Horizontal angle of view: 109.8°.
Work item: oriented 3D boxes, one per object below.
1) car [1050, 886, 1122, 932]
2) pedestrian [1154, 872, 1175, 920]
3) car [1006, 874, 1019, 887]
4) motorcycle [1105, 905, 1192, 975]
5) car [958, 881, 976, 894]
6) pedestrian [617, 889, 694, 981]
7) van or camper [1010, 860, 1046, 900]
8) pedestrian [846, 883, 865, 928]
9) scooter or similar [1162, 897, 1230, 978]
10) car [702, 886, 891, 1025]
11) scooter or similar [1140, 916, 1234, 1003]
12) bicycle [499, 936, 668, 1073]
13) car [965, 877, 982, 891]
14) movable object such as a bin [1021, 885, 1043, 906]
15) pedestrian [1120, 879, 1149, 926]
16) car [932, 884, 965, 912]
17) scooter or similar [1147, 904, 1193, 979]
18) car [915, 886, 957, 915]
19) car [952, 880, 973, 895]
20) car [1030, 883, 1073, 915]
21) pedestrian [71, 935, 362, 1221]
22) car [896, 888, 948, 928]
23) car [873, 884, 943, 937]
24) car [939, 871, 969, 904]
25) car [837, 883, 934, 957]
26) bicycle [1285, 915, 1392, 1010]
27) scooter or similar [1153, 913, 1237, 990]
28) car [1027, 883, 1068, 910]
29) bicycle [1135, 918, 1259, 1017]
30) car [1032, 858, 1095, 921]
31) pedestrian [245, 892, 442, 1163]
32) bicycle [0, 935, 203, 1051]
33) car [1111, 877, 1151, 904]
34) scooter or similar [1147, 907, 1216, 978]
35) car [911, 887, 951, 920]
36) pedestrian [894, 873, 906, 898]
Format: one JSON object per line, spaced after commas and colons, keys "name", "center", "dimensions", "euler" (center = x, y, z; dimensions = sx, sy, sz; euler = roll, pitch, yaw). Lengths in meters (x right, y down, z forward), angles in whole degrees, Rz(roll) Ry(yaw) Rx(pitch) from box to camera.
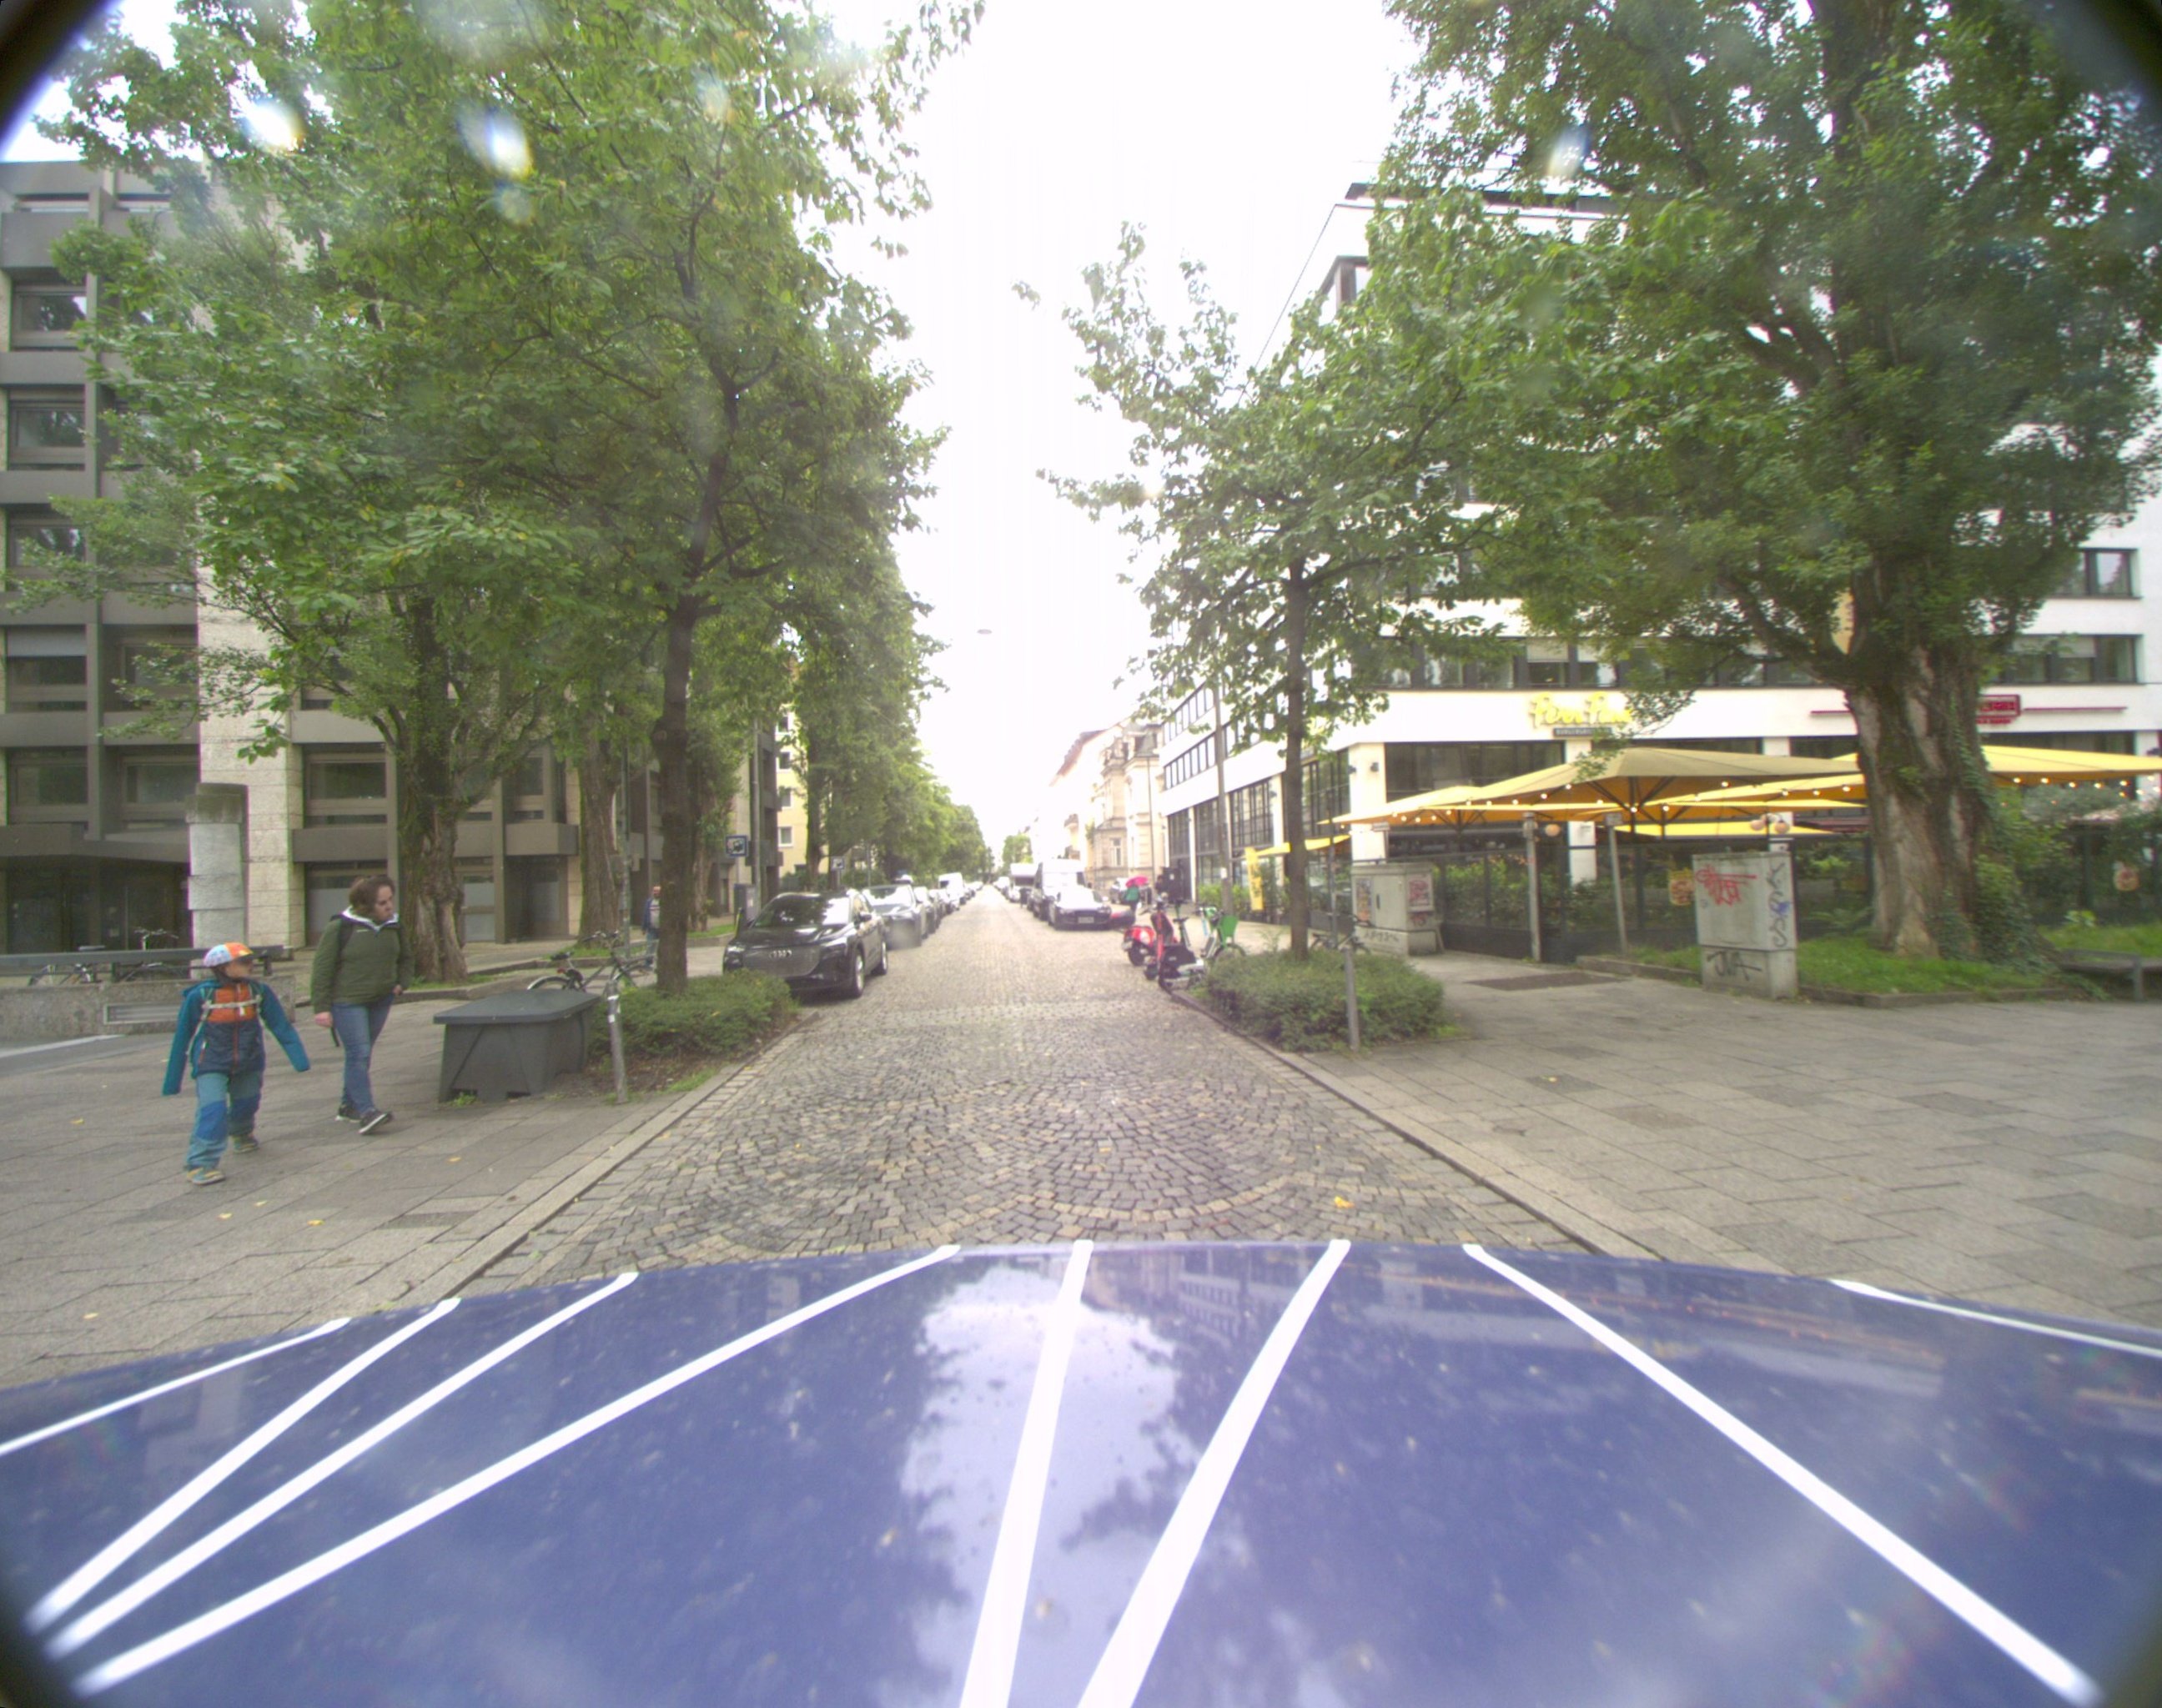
{"name": "car", "center": [0.070, 1.824, 26.018], "dimensions": [1.999, 1.322, 4.115], "euler": [-2, -1, -6]}
{"name": "pedestrian", "center": [3.101, 1.556, 28.282], "dimensions": [0.576, 1.737, 0.650], "euler": [-2, -1, -9]}
{"name": "car", "center": [-13.376, 5.053, 147.473], "dimensions": [2.089, 2.417, 5.608], "euler": [-2, -1, -8]}
{"name": "motorcycle", "center": [1.330, 1.594, 14.563], "dimensions": [0.769, 1.188, 1.996], "euler": [-1, -2, 35]}
{"name": "car", "center": [-13.152, 3.875, 87.500], "dimensions": [2.000, 1.379, 3.871], "euler": [-2, -1, -9]}
{"name": "pedestrian", "center": [-8.254, 1.552, 14.766], "dimensions": [0.867, 1.703, 0.913], "euler": [-2, -1, 13]}
{"name": "van or camper", "center": [-4.482, 2.159, 63.127], "dimensions": [2.465, 3.029, 7.314], "euler": [-2, -1, -8]}
{"name": "pedestrian", "center": [-8.447, 1.921, 28.455], "dimensions": [0.490, 1.618, 0.568], "euler": [-2, -1, -3]}
{"name": "scooter or similar", "center": [1.968, 1.395, 12.949], "dimensions": [1.253, 1.265, 0.327], "euler": [-1, -1, -37]}
{"name": "car", "center": [-4.342, 1.444, 12.332], "dimensions": [1.926, 1.690, 4.199], "euler": [-2, -1, -8]}
{"name": "scooter or similar", "center": [1.579, 1.524, 11.234], "dimensions": [1.432, 1.137, 0.369], "euler": [-1, -1, -30]}
{"name": "bicycle", "center": [-5.230, 1.531, 8.144], "dimensions": [0.475, 1.129, 1.877], "euler": [-2, -1, 3]}
{"name": "car", "center": [-13.867, 3.846, 98.115], "dimensions": [2.000, 1.679, 3.871], "euler": [-3, -1, -9]}
{"name": "movable object such as a bin", "center": [-3.181, 2.648, 49.168], "dimensions": [1.255, 1.290, 1.173], "euler": [-1, -1, -11]}
{"name": "pedestrian", "center": [2.019, 1.827, 28.643], "dimensions": [0.929, 1.695, 0.800], "euler": [-2, -1, -4]}
{"name": "car", "center": [-8.346, 2.740, 48.001], "dimensions": [1.869, 1.490, 3.871], "euler": [-3, -1, -9]}
{"name": "scooter or similar", "center": [1.639, 1.562, 13.871], "dimensions": [0.327, 1.265, 1.360], "euler": [-2, -2, 28]}
{"name": "car", "center": [-8.069, 2.574, 42.551], "dimensions": [2.000, 1.379, 3.872], "euler": [-3, -1, -7]}
{"name": "car", "center": [-12.351, 3.508, 79.140], "dimensions": [2.000, 1.379, 3.871], "euler": [-3, -1, -9]}
{"name": "car", "center": [-1.563, 2.240, 38.627], "dimensions": [1.999, 1.422, 3.999], "euler": [-1, -1, -4]}
{"name": "pedestrian", "center": [-4.970, 1.220, 4.423], "dimensions": [0.769, 1.411, 0.819], "euler": [-2, -1, 10]}
{"name": "car", "center": [-6.865, 2.301, 33.159], "dimensions": [1.724, 1.382, 4.204], "euler": [-5, -1, -7]}
{"name": "car", "center": [-6.033, 1.933, 27.012], "dimensions": [2.000, 1.573, 4.340], "euler": [-2, -1, -8]}
{"name": "car", "center": [-10.045, 2.620, 60.346], "dimensions": [2.089, 2.418, 5.608], "euler": [-3, -1, -8]}
{"name": "car", "center": [-5.347, 1.738, 21.377], "dimensions": [2.019, 1.690, 4.671], "euler": [-2, -1, -8]}
{"name": "bicycle", "center": [3.308, 1.362, 9.936], "dimensions": [0.554, 1.016, 1.762], "euler": [-2, -1, -8]}
{"name": "scooter or similar", "center": [1.804, 1.537, 12.058], "dimensions": [1.251, 1.137, 0.327], "euler": [-2, -1, -6]}
{"name": "car", "center": [-1.991, 2.428, 44.060], "dimensions": [2.000, 1.380, 3.998], "euler": [-1, -1, -7]}
{"name": "bicycle", "center": [1.607, 1.498, 10.369], "dimensions": [1.766, 1.136, 0.552], "euler": [-1, -1, -37]}
{"name": "car", "center": [-0.873, 1.491, 33.238], "dimensions": [2.066, 2.475, 5.846], "euler": [-1, -1, -8]}
{"name": "pedestrian", "center": [-5.008, 1.126, 5.192], "dimensions": [0.689, 1.690, 0.665], "euler": [-2, -1, 10]}
{"name": "bicycle", "center": [-12.474, 1.726, 9.562], "dimensions": [1.868, 1.269, 0.721], "euler": [-2, -1, -5]}
{"name": "car", "center": [3.053, 2.235, 47.137], "dimensions": [1.913, 1.523, 4.169], "euler": [-2, -1, -4]}
{"name": "scooter or similar", "center": [1.767, 1.544, 13.486], "dimensions": [0.391, 1.172, 1.248], "euler": [-1, -1, -38]}
{"name": "car", "center": [-7.421, 2.417, 37.756], "dimensions": [1.605, 1.422, 3.561], "euler": [-4, -1, -7]}
{"name": "pedestrian", "center": [-11.646, 2.018, 48.872], "dimensions": [0.646, 1.528, 0.708], "euler": [-2, -1, -10]}
